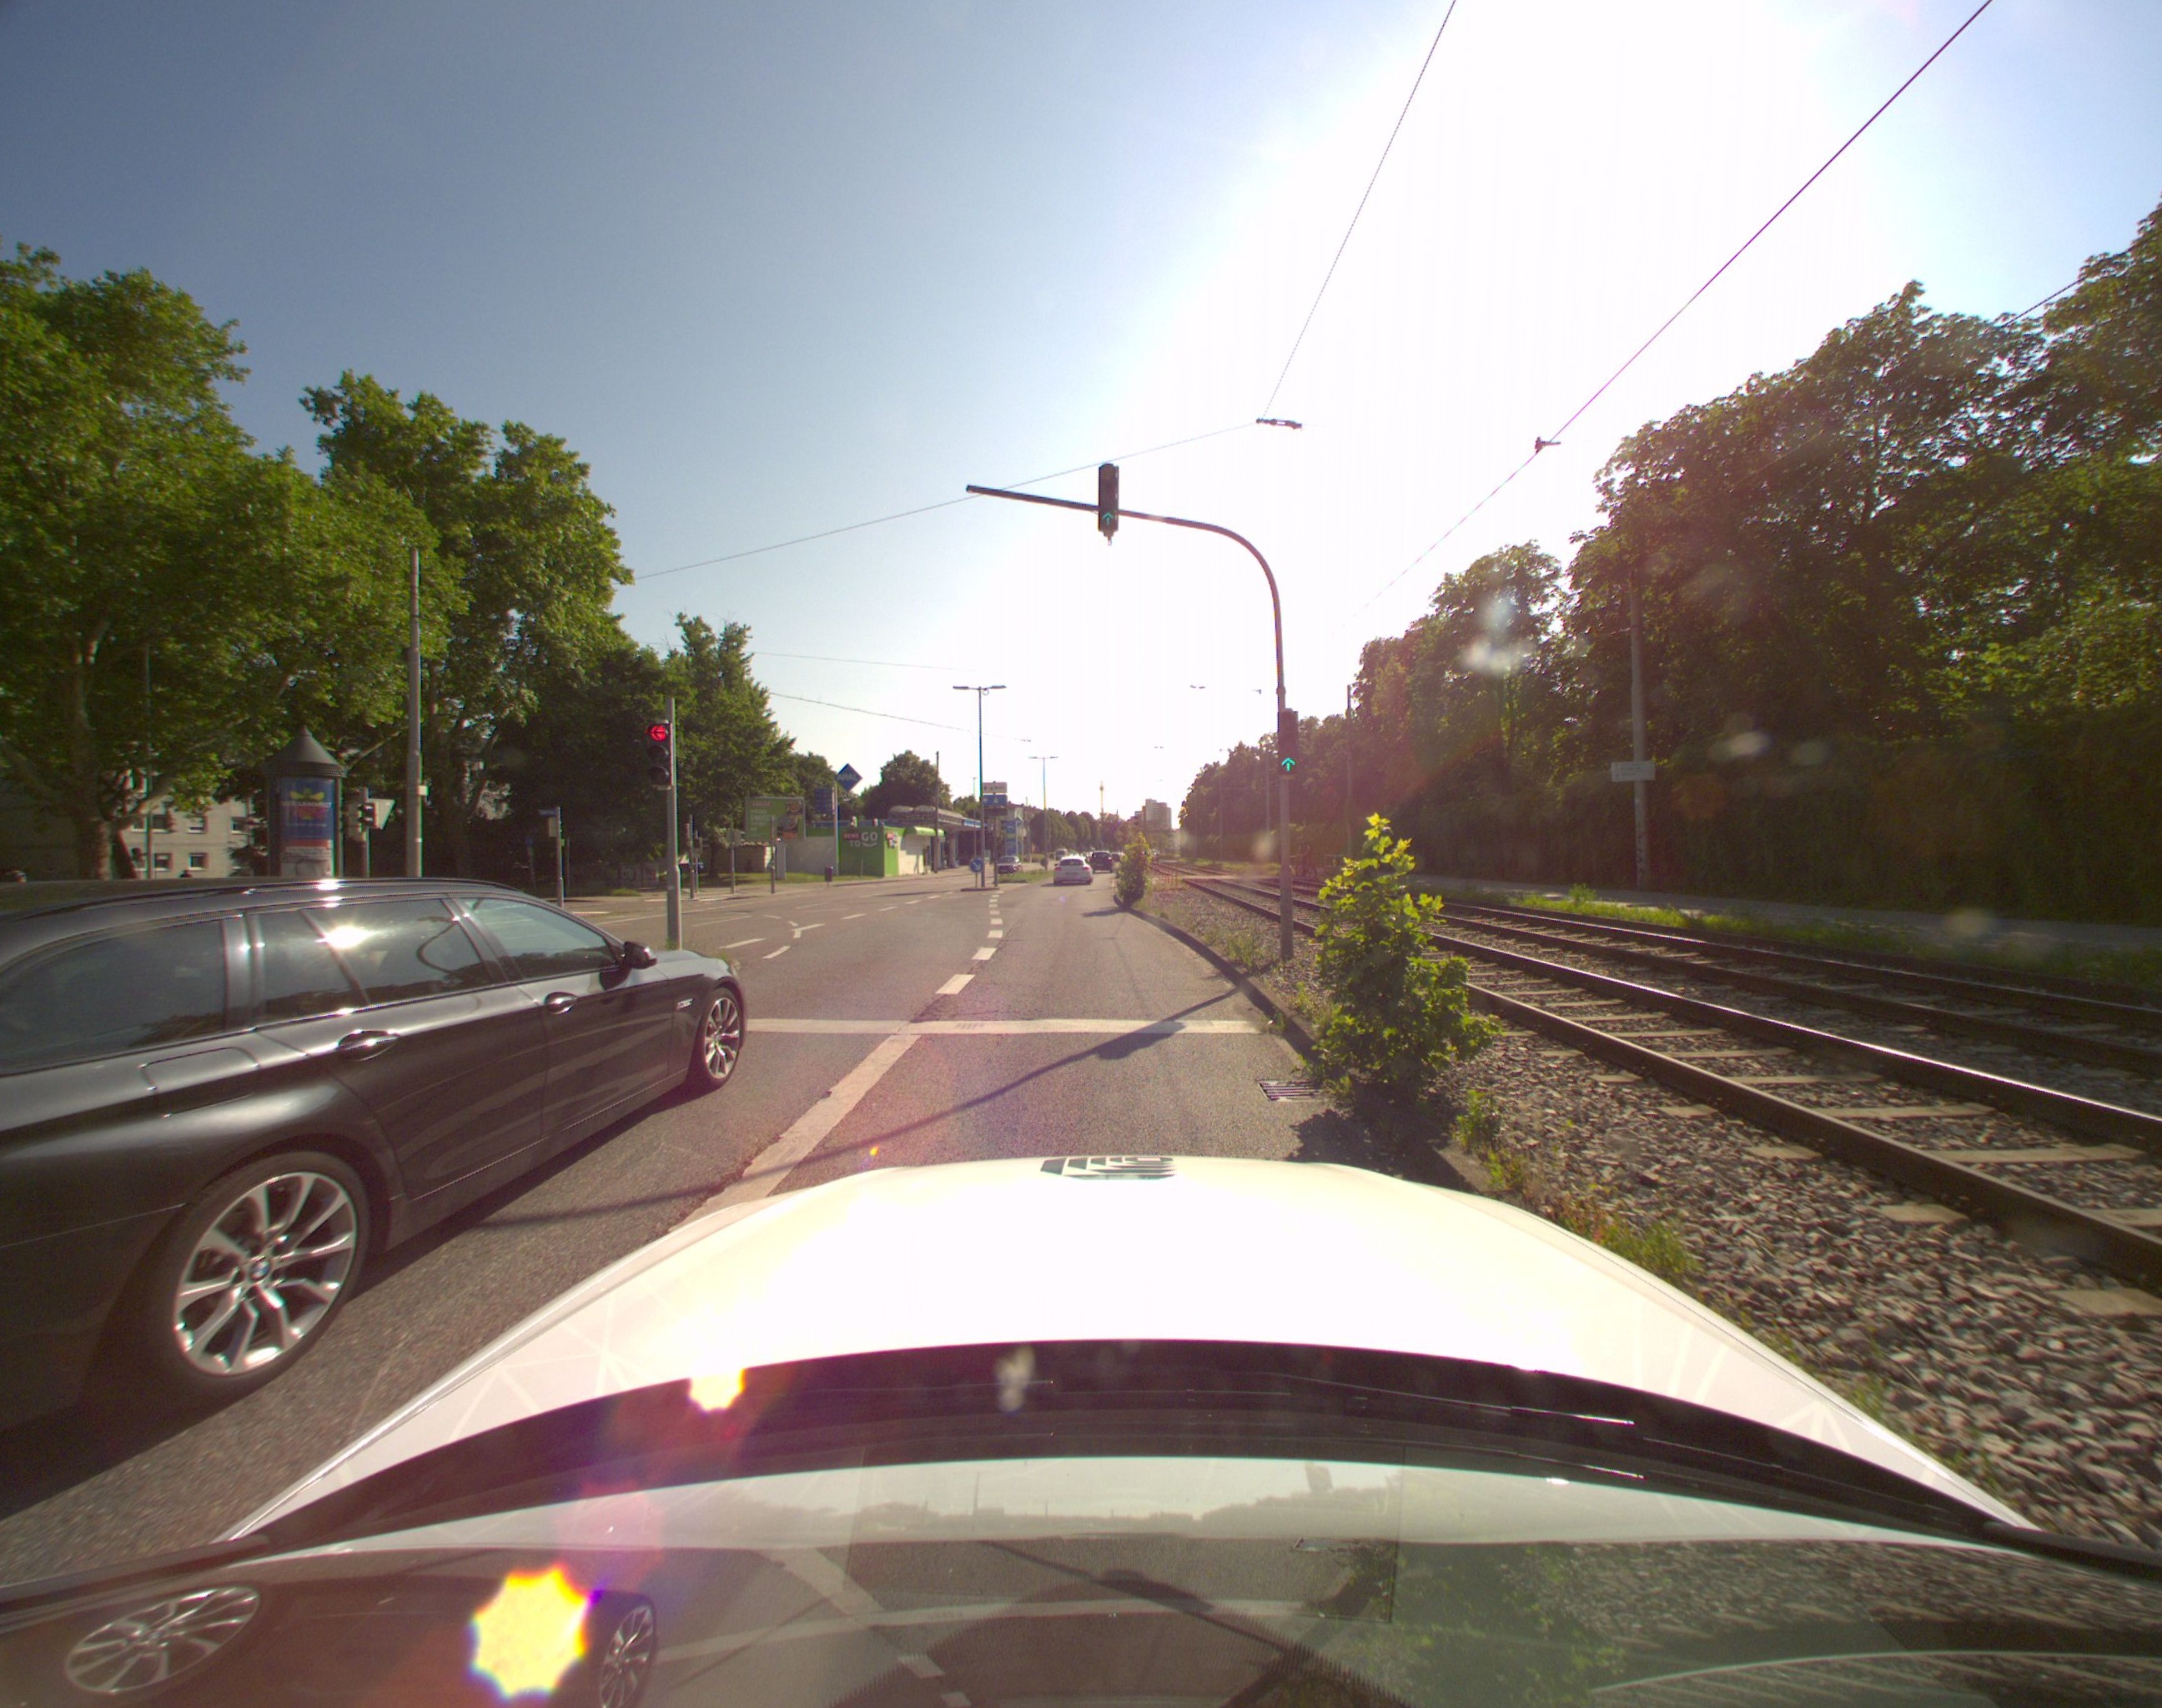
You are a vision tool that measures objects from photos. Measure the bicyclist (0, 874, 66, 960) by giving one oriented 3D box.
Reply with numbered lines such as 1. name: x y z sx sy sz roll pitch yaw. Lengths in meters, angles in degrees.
1. bicyclist: -18.879 1.098 14.342 0.658 1.452 1.052 -1 0 5

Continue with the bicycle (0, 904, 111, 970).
1. bicycle: -18.889 1.481 14.204 0.658 1.049 2.584 -1 0 6

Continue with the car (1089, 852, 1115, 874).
1. car: 1.565 0.652 61.286 1.719 1.593 3.599 0 0 -2

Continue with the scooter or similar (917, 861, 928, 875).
1. scooter or similar: -13.410 1.179 68.920 0.529 1.174 1.312 4 0 6

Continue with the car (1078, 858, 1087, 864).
1. car: 0.401 1.781 216.543 1.984 1.416 3.849 -2 0 5

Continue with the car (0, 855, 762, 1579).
1. car: -3.187 0.767 3.654 1.755 1.485 4.642 0 0 -1

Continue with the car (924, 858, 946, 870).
1. car: -17.514 1.205 98.029 1.737 1.393 4.122 -2 0 1

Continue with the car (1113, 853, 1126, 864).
1. car: 5.345 0.654 112.517 1.741 1.485 3.604 0 0 3

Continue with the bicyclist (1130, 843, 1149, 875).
1. bicyclist: 2.677 0.244 37.109 0.638 1.416 1.017 -1 -1 18

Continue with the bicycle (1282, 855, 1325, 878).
1. bicycle: 11.154 0.625 40.839 1.903 1.115 0.953 -1 0 26

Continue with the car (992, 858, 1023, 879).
1. car: -5.249 1.033 58.743 1.646 1.395 4.136 -1 0 2

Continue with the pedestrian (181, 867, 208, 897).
1. pedestrian: -54.190 1.695 49.793 0.680 1.769 0.881 -1 0 15

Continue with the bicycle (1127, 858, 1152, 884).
1. bicycle: 2.685 0.747 37.134 0.638 1.154 1.946 -1 0 18

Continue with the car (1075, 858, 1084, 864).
1. car: -0.419 1.641 205.023 1.984 1.416 3.849 -2 0 5

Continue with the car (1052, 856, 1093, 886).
1. car: -0.379 0.814 40.254 1.774 1.356 3.603 0 0 2

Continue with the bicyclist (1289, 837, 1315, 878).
1. bicyclist: 11.095 0.187 40.864 1.023 1.993 0.953 -1 0 26

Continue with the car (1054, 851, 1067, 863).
1. car: -4.126 0.537 167.154 1.984 2.376 4.546 -2 0 6
